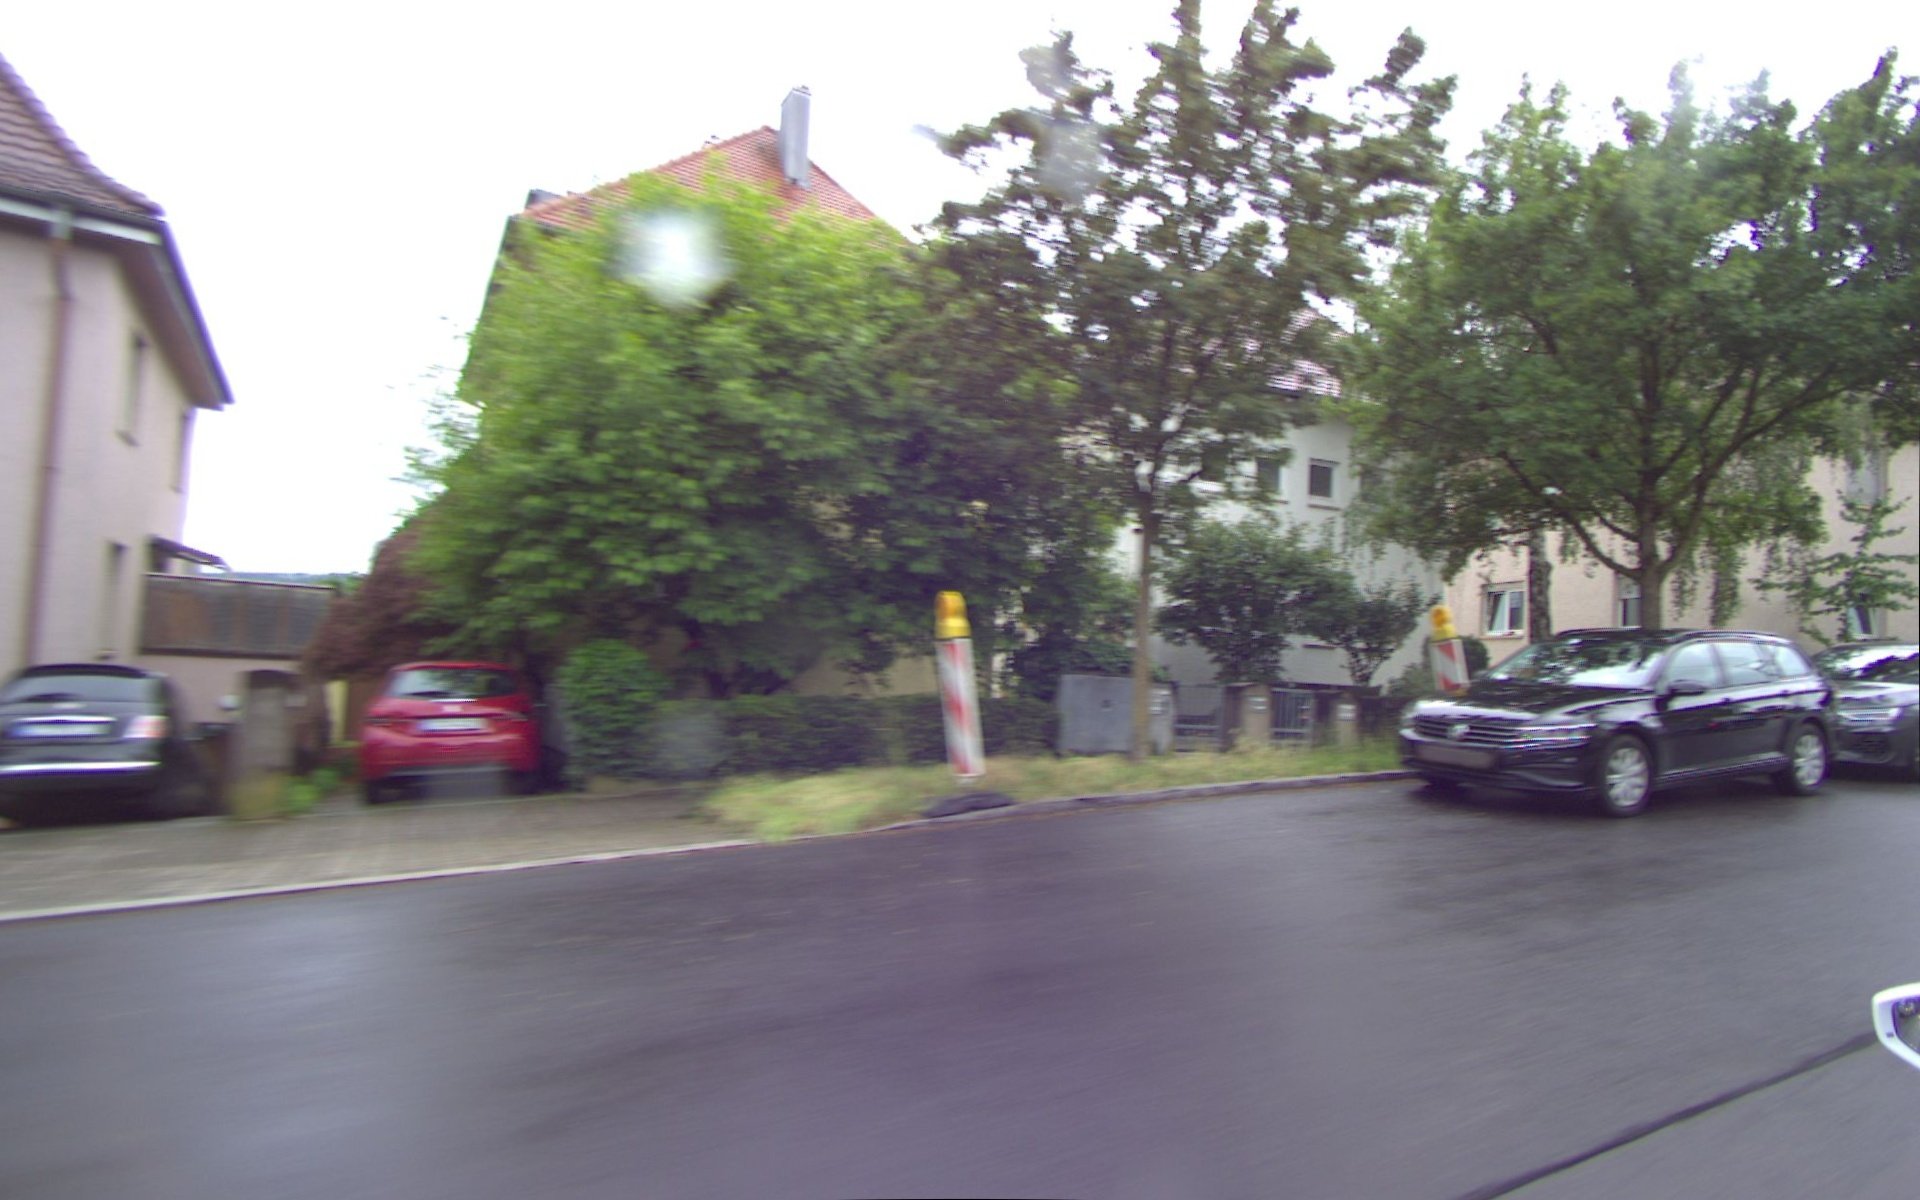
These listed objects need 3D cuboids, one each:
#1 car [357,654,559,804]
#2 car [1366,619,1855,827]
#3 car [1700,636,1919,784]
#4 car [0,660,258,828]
[{"bbox_3d":[-5.837,1.538,11.666,1.757,1.411,3.906,2,-9,-28],"label":"car"},{"bbox_3d":[5.966,0.969,9.122,4.471,1.503,1.726,2,-1,-27],"label":"car"},{"bbox_3d":[10.696,1.146,11.323,4.463,1.401,1.704,1,-1,-22],"label":"car"},{"bbox_3d":[-8.507,1.477,10.147,1.805,1.377,3.906,2,-9,-28],"label":"car"}]
